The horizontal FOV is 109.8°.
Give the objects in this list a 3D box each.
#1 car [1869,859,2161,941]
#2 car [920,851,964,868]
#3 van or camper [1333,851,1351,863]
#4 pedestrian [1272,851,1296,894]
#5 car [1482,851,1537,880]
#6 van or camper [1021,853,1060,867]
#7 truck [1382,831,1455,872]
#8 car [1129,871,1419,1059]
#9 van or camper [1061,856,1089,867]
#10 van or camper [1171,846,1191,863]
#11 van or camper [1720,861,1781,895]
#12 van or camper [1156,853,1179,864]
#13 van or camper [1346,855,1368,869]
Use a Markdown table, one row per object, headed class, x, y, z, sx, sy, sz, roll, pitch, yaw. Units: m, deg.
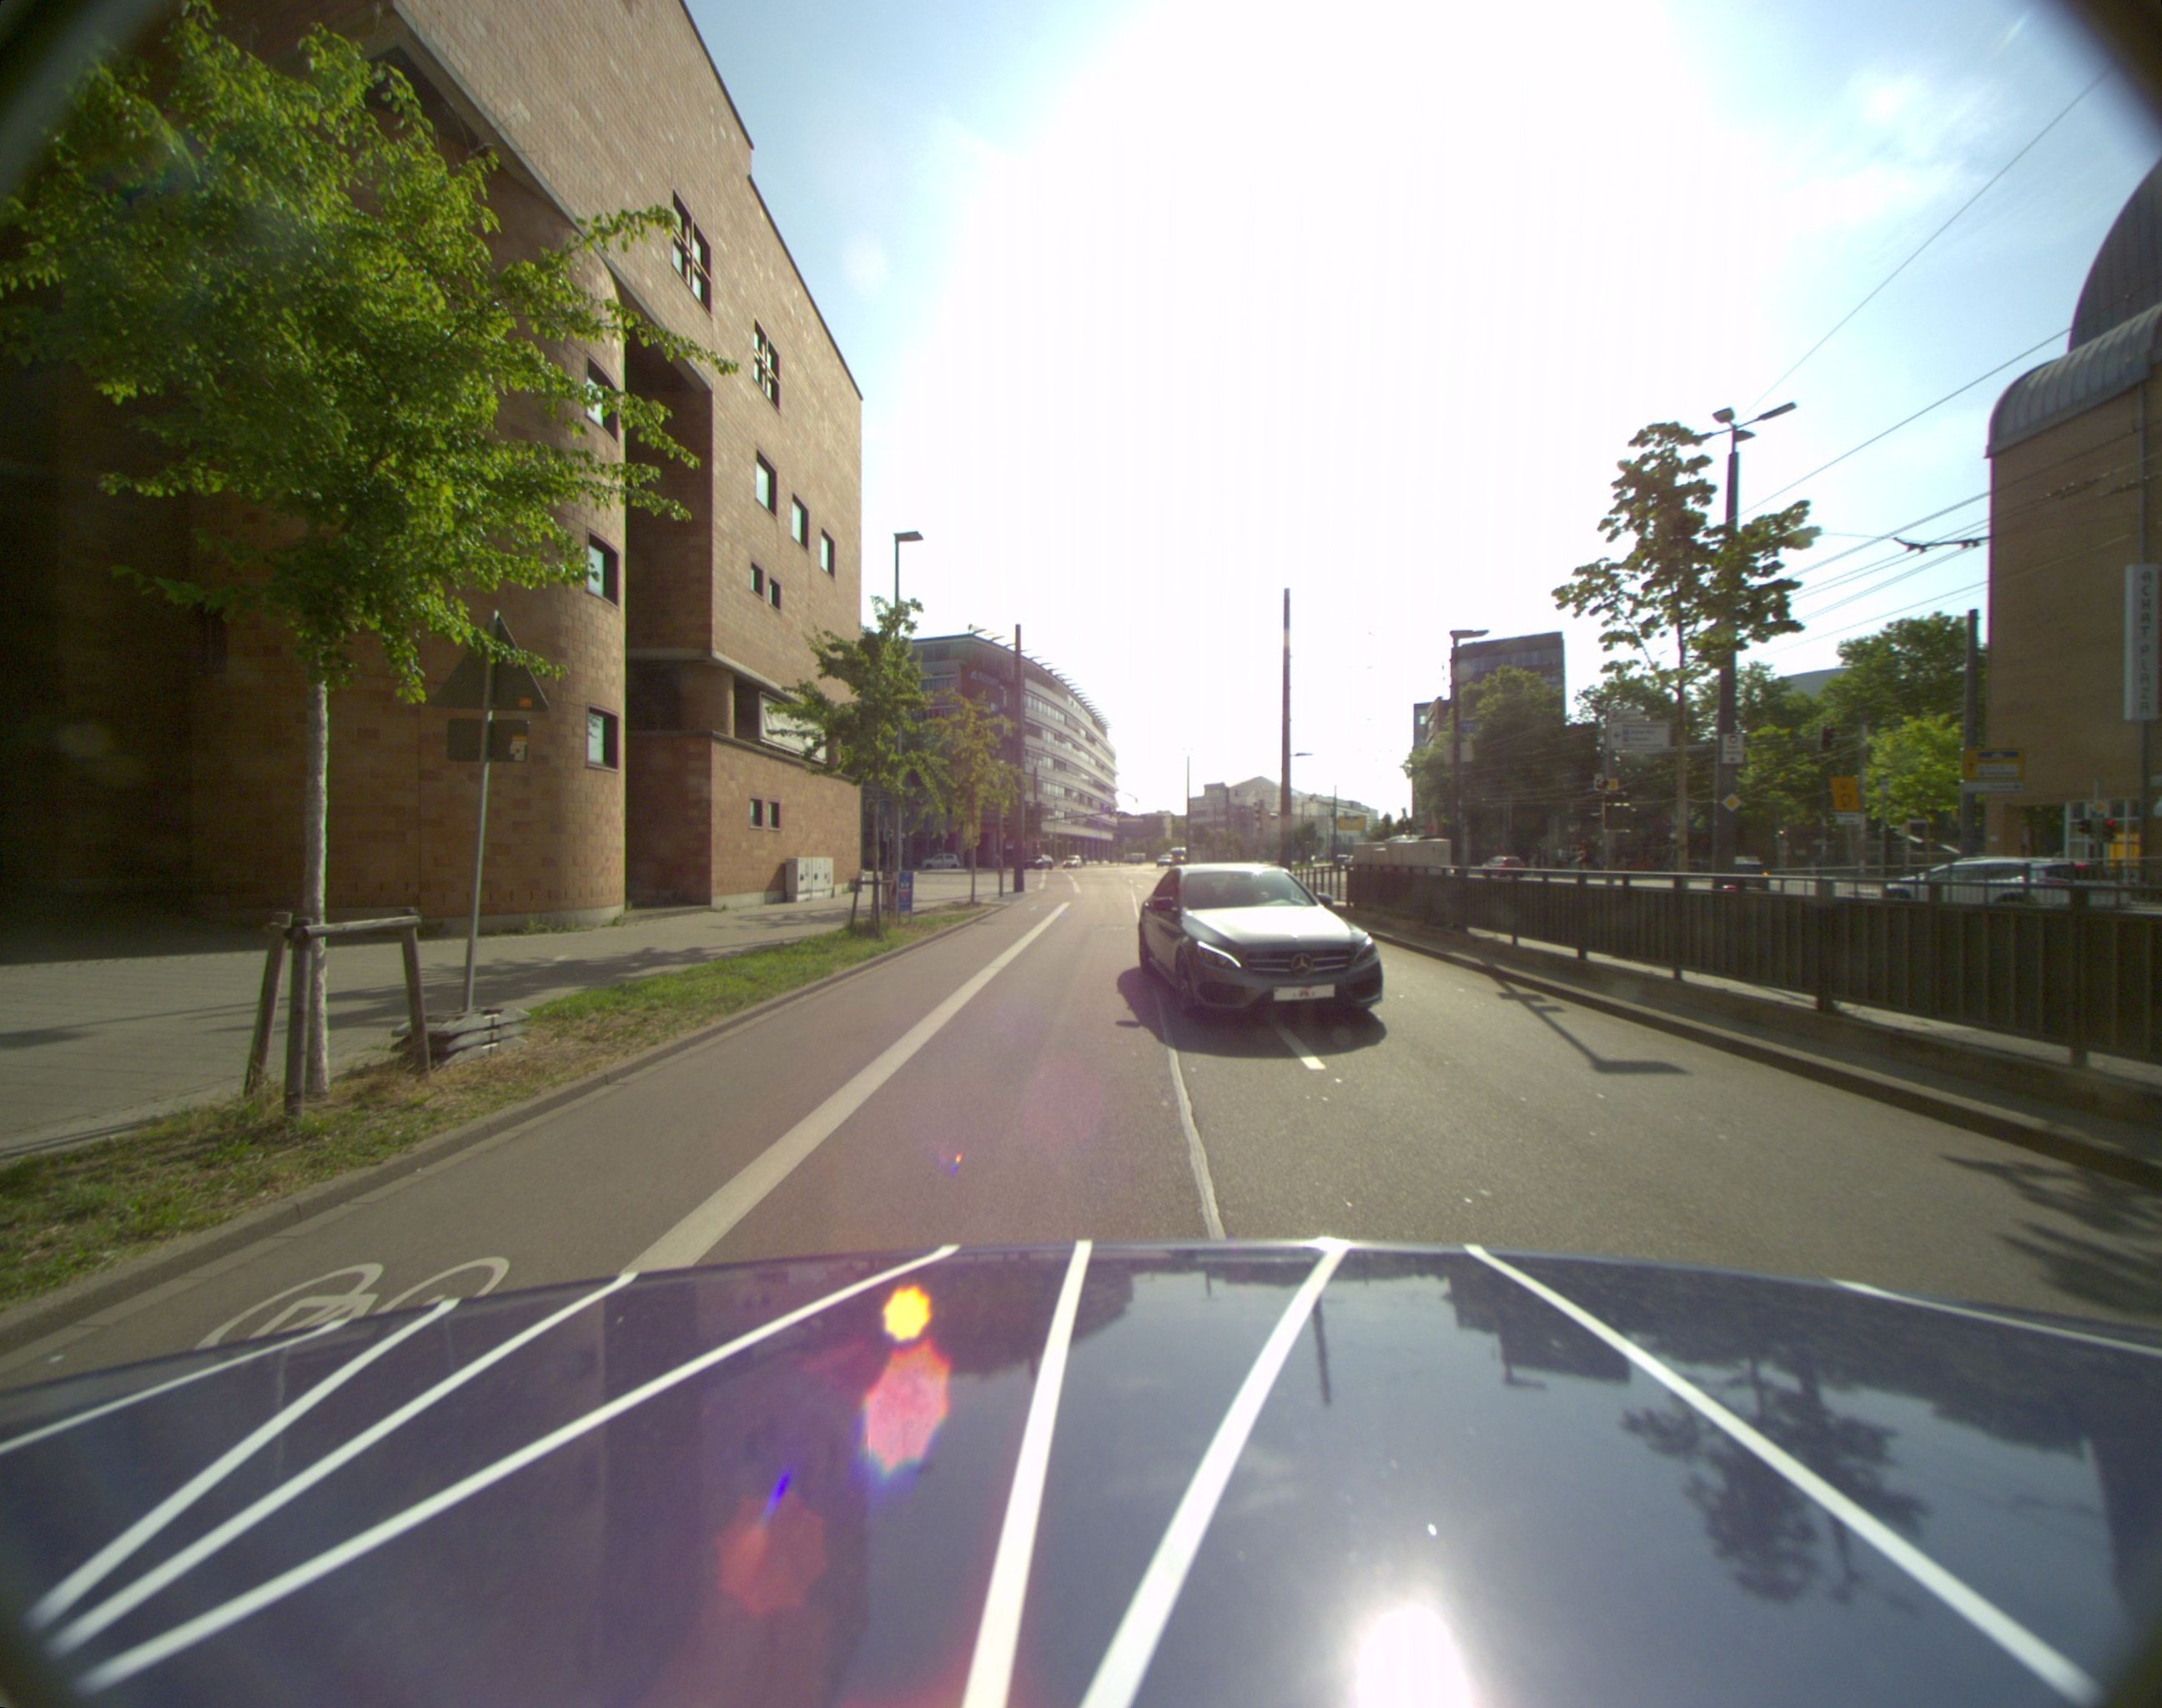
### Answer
| class | x | y | z | sx | sy | sz | roll | pitch | yaw |
| --- | --- | --- | --- | --- | --- | --- | --- | --- | --- |
| car | 21.298 | 0.958 | 17.626 | 1.998 | 1.608 | 4.025 | 1 | 0 | 4 |
| car | -13.365 | 0.510 | 73.099 | 4.002 | 1.521 | 1.997 | 1 | 0 | -15 |
| van or camper | 37.691 | 0.487 | 109.783 | 1.925 | 1.691 | 4.004 | 1 | 0 | 13 |
| pedestrian | 7.820 | 0.720 | 29.294 | 0.582 | 1.624 | 0.645 | 0 | 1 | -30 |
| car | 30.829 | 0.786 | 54.786 | 1.997 | 2.002 | 4.002 | 1 | 0 | 6 |
| van or camper | -4.151 | 0.618 | 78.708 | 1.994 | 1.433 | 4.222 | 1 | 0 | 30 |
| truck | 33.141 | -0.234 | 75.299 | 3.166 | 3.754 | 12.366 | 1 | 0 | 8 |
| car | 1.729 | 0.957 | 8.356 | 1.907 | 1.384 | 4.234 | -1 | 0 | -3 |
| van or camper | -0.688 | 0.860 | 89.947 | 1.930 | 1.305 | 3.993 | 1 | 0 | 21 |
| van or camper | 13.297 | 0.029 | 101.091 | 1.931 | 2.198 | 3.992 | 1 | 0 | 18 |
| van or camper | 32.920 | 1.115 | 37.460 | 1.923 | 1.528 | 4.009 | 1 | 0 | 36 |
| van or camper | 10.368 | 0.490 | 90.611 | 1.931 | 1.305 | 3.992 | 1 | 0 | 18 |
| van or camper | 32.199 | 0.915 | 88.781 | 1.843 | 1.543 | 4.004 | 1 | 0 | 12 |
